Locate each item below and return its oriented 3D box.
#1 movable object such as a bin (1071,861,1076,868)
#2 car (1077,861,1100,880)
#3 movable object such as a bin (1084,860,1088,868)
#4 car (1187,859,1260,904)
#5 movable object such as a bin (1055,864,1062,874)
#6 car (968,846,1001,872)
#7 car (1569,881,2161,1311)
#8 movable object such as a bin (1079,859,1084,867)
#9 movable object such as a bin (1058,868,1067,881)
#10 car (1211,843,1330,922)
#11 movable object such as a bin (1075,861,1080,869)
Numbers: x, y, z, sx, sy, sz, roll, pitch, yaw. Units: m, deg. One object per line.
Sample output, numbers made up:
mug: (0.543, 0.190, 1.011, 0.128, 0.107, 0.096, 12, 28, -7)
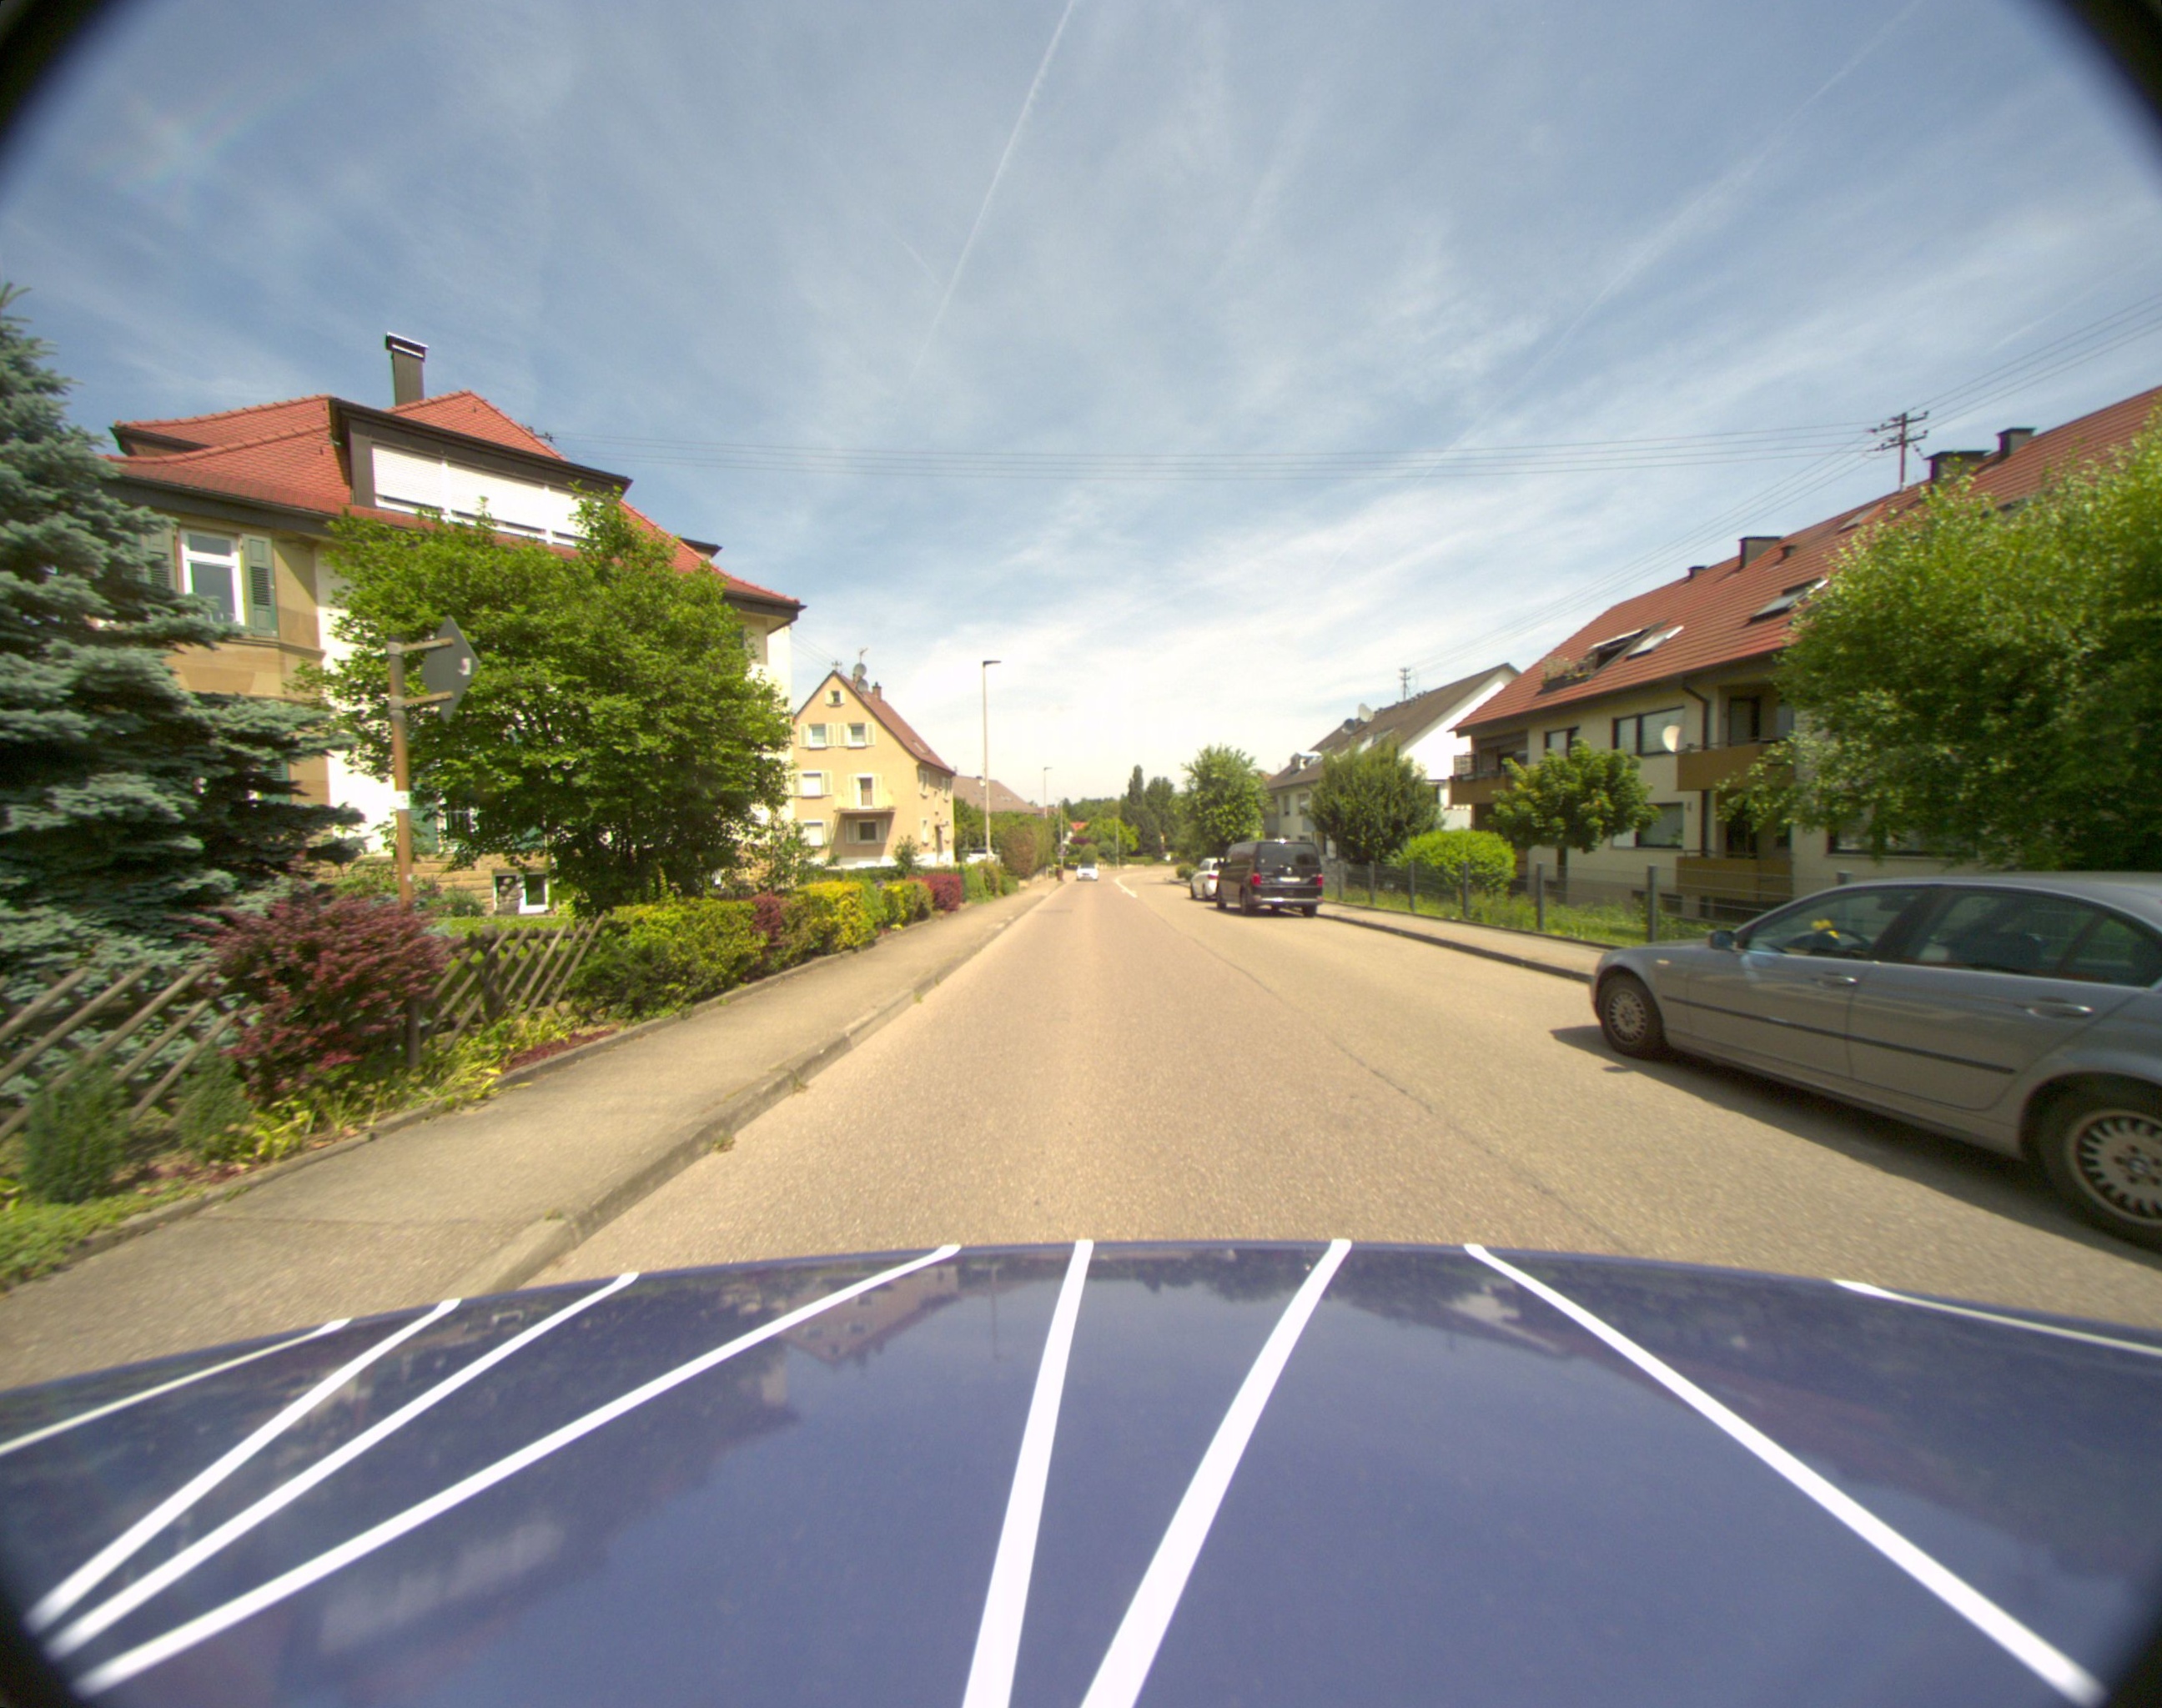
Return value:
movable object such as a bin: (-1.053, 1.543, 108.701, 0.484, 1.016, 0.565, 3, 2, 22)
car: (0.633, 1.374, 65.423, 1.827, 1.543, 3.999, -1, 0, -2)
movable object such as a bin: (0.723, 1.410, 108.053, 0.485, 1.101, 0.565, 0, 1, 15)
car: (5.208, 0.964, 28.280, 1.816, 1.540, 4.243, -1, -1, -1)
movable object such as a bin: (-2.270, 1.496, 75.415, 0.589, 1.052, 0.920, 0, 0, 3)
car: (-6.071, 0.288, 48.251, 1.609, 1.474, 3.557, -1, 3, 1)
car: (4.766, 0.931, 3.860, 1.784, 1.386, 4.409, 0, 0, 1)
movable object such as a bin: (0.089, 1.296, 108.240, 0.485, 1.064, 0.565, 0, 1, 22)
movable object such as a bin: (-1.437, 1.553, 58.781, 0.590, 0.972, 0.786, 1, 0, 1)
car: (5.020, 0.715, 20.886, 1.901, 1.909, 4.870, 1, -1, -2)
movable object such as a bin: (-0.447, 1.558, 108.484, 0.484, 1.016, 0.565, 3, 2, 22)
